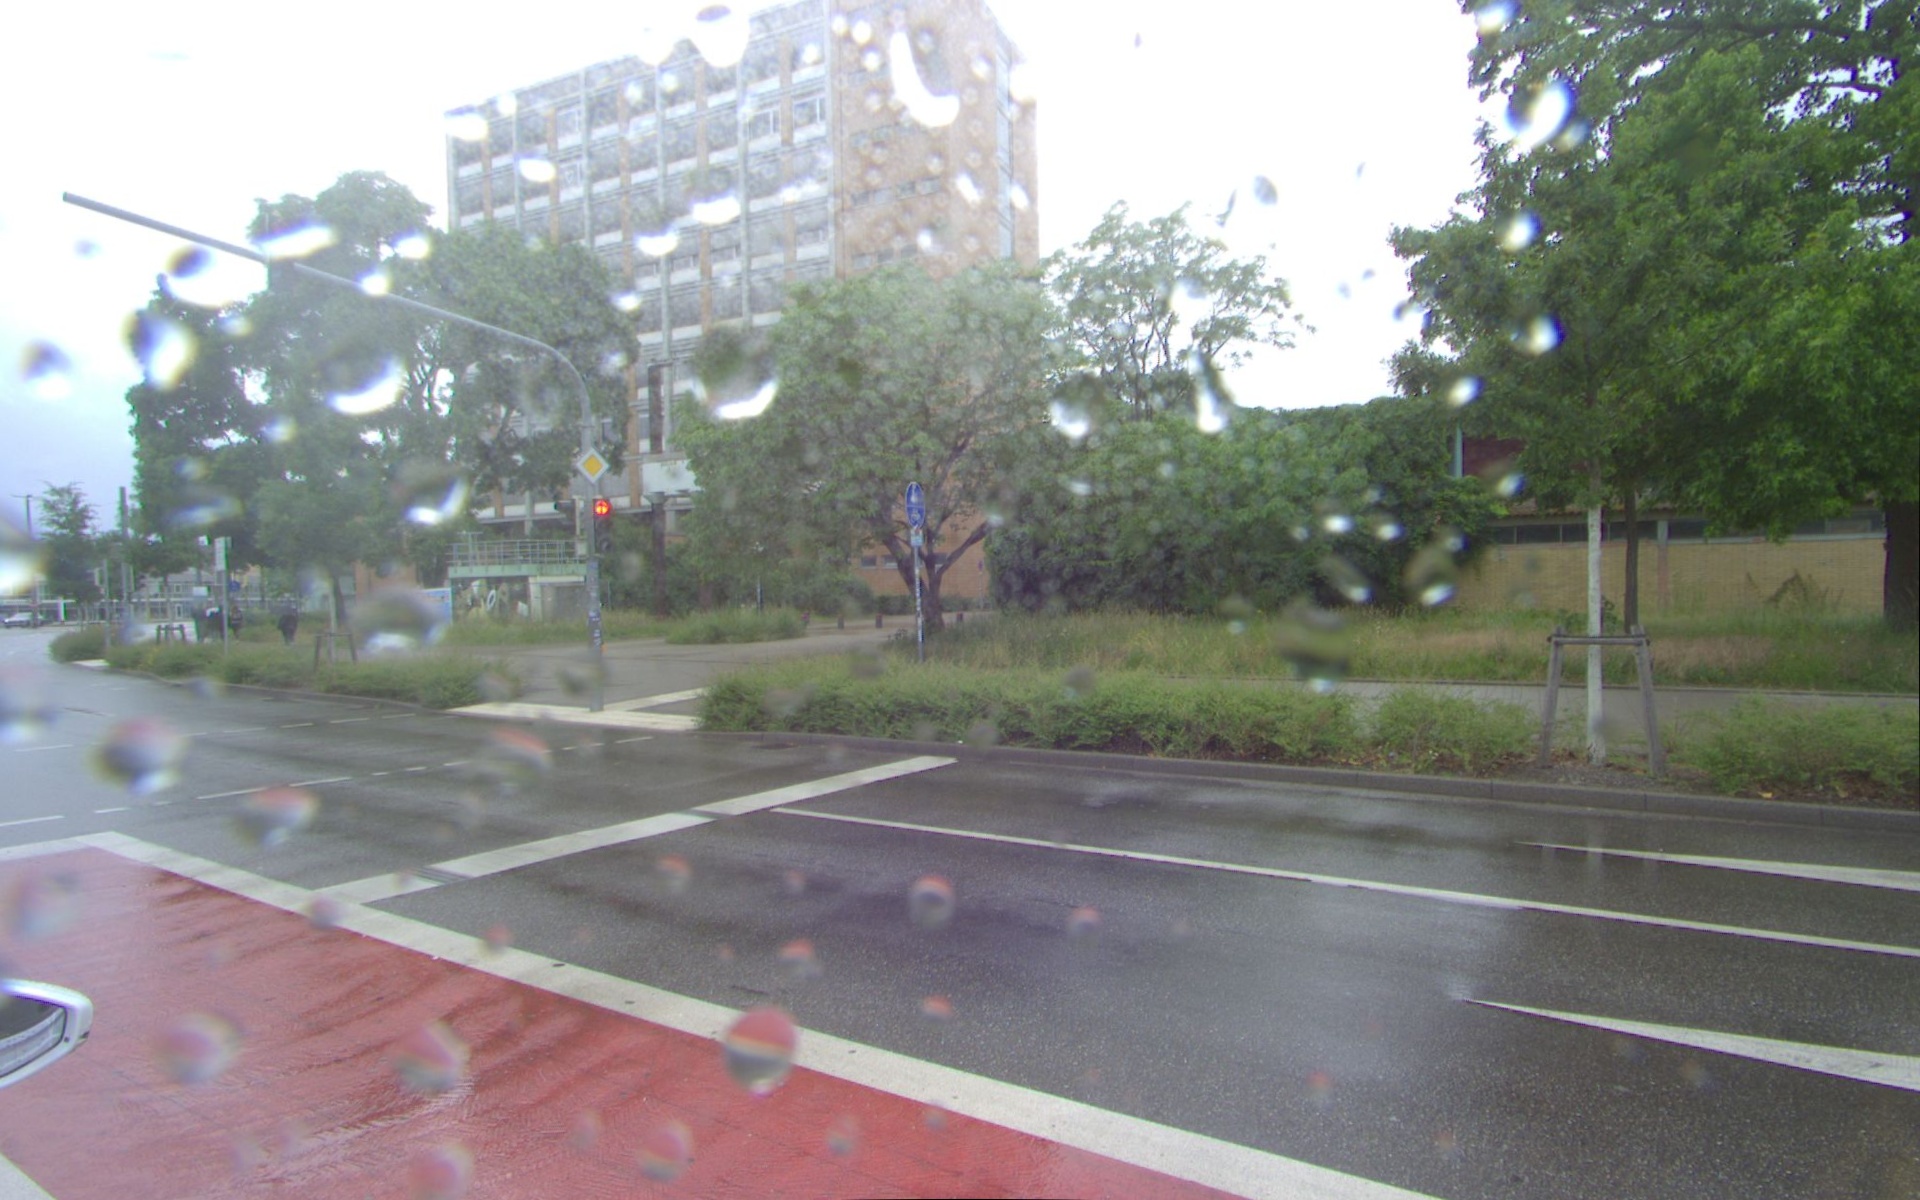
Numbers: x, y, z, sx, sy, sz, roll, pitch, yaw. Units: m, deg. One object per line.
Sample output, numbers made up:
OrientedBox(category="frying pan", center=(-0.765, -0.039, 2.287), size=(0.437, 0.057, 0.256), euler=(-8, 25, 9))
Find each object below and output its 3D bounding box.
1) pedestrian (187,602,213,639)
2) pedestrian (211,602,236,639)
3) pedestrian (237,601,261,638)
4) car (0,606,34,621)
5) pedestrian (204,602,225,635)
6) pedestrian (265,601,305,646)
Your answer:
OrientedBox(category="pedestrian", center=(-33.354, 0.896, 43.947), size=(0.926, 1.609, 0.749), euler=(0, 1, 43))
OrientedBox(category="pedestrian", center=(-32.549, 0.879, 44.250), size=(0.926, 1.609, 0.699), euler=(0, 1, 43))
OrientedBox(category="pedestrian", center=(-31.903, 0.861, 44.930), size=(0.926, 1.609, 0.699), euler=(0, 1, 43))
OrientedBox(category="car", center=(-106.385, 1.530, 113.008), size=(1.769, 1.665, 4.140), euler=(-1, 1, -28))
OrientedBox(category="pedestrian", center=(-37.027, 0.903, 49.733), size=(0.927, 1.609, 0.698), euler=(0, 1, 45))
OrientedBox(category="pedestrian", center=(-24.840, 0.849, 36.863), size=(0.926, 1.609, 1.017), euler=(0, 1, 42))
